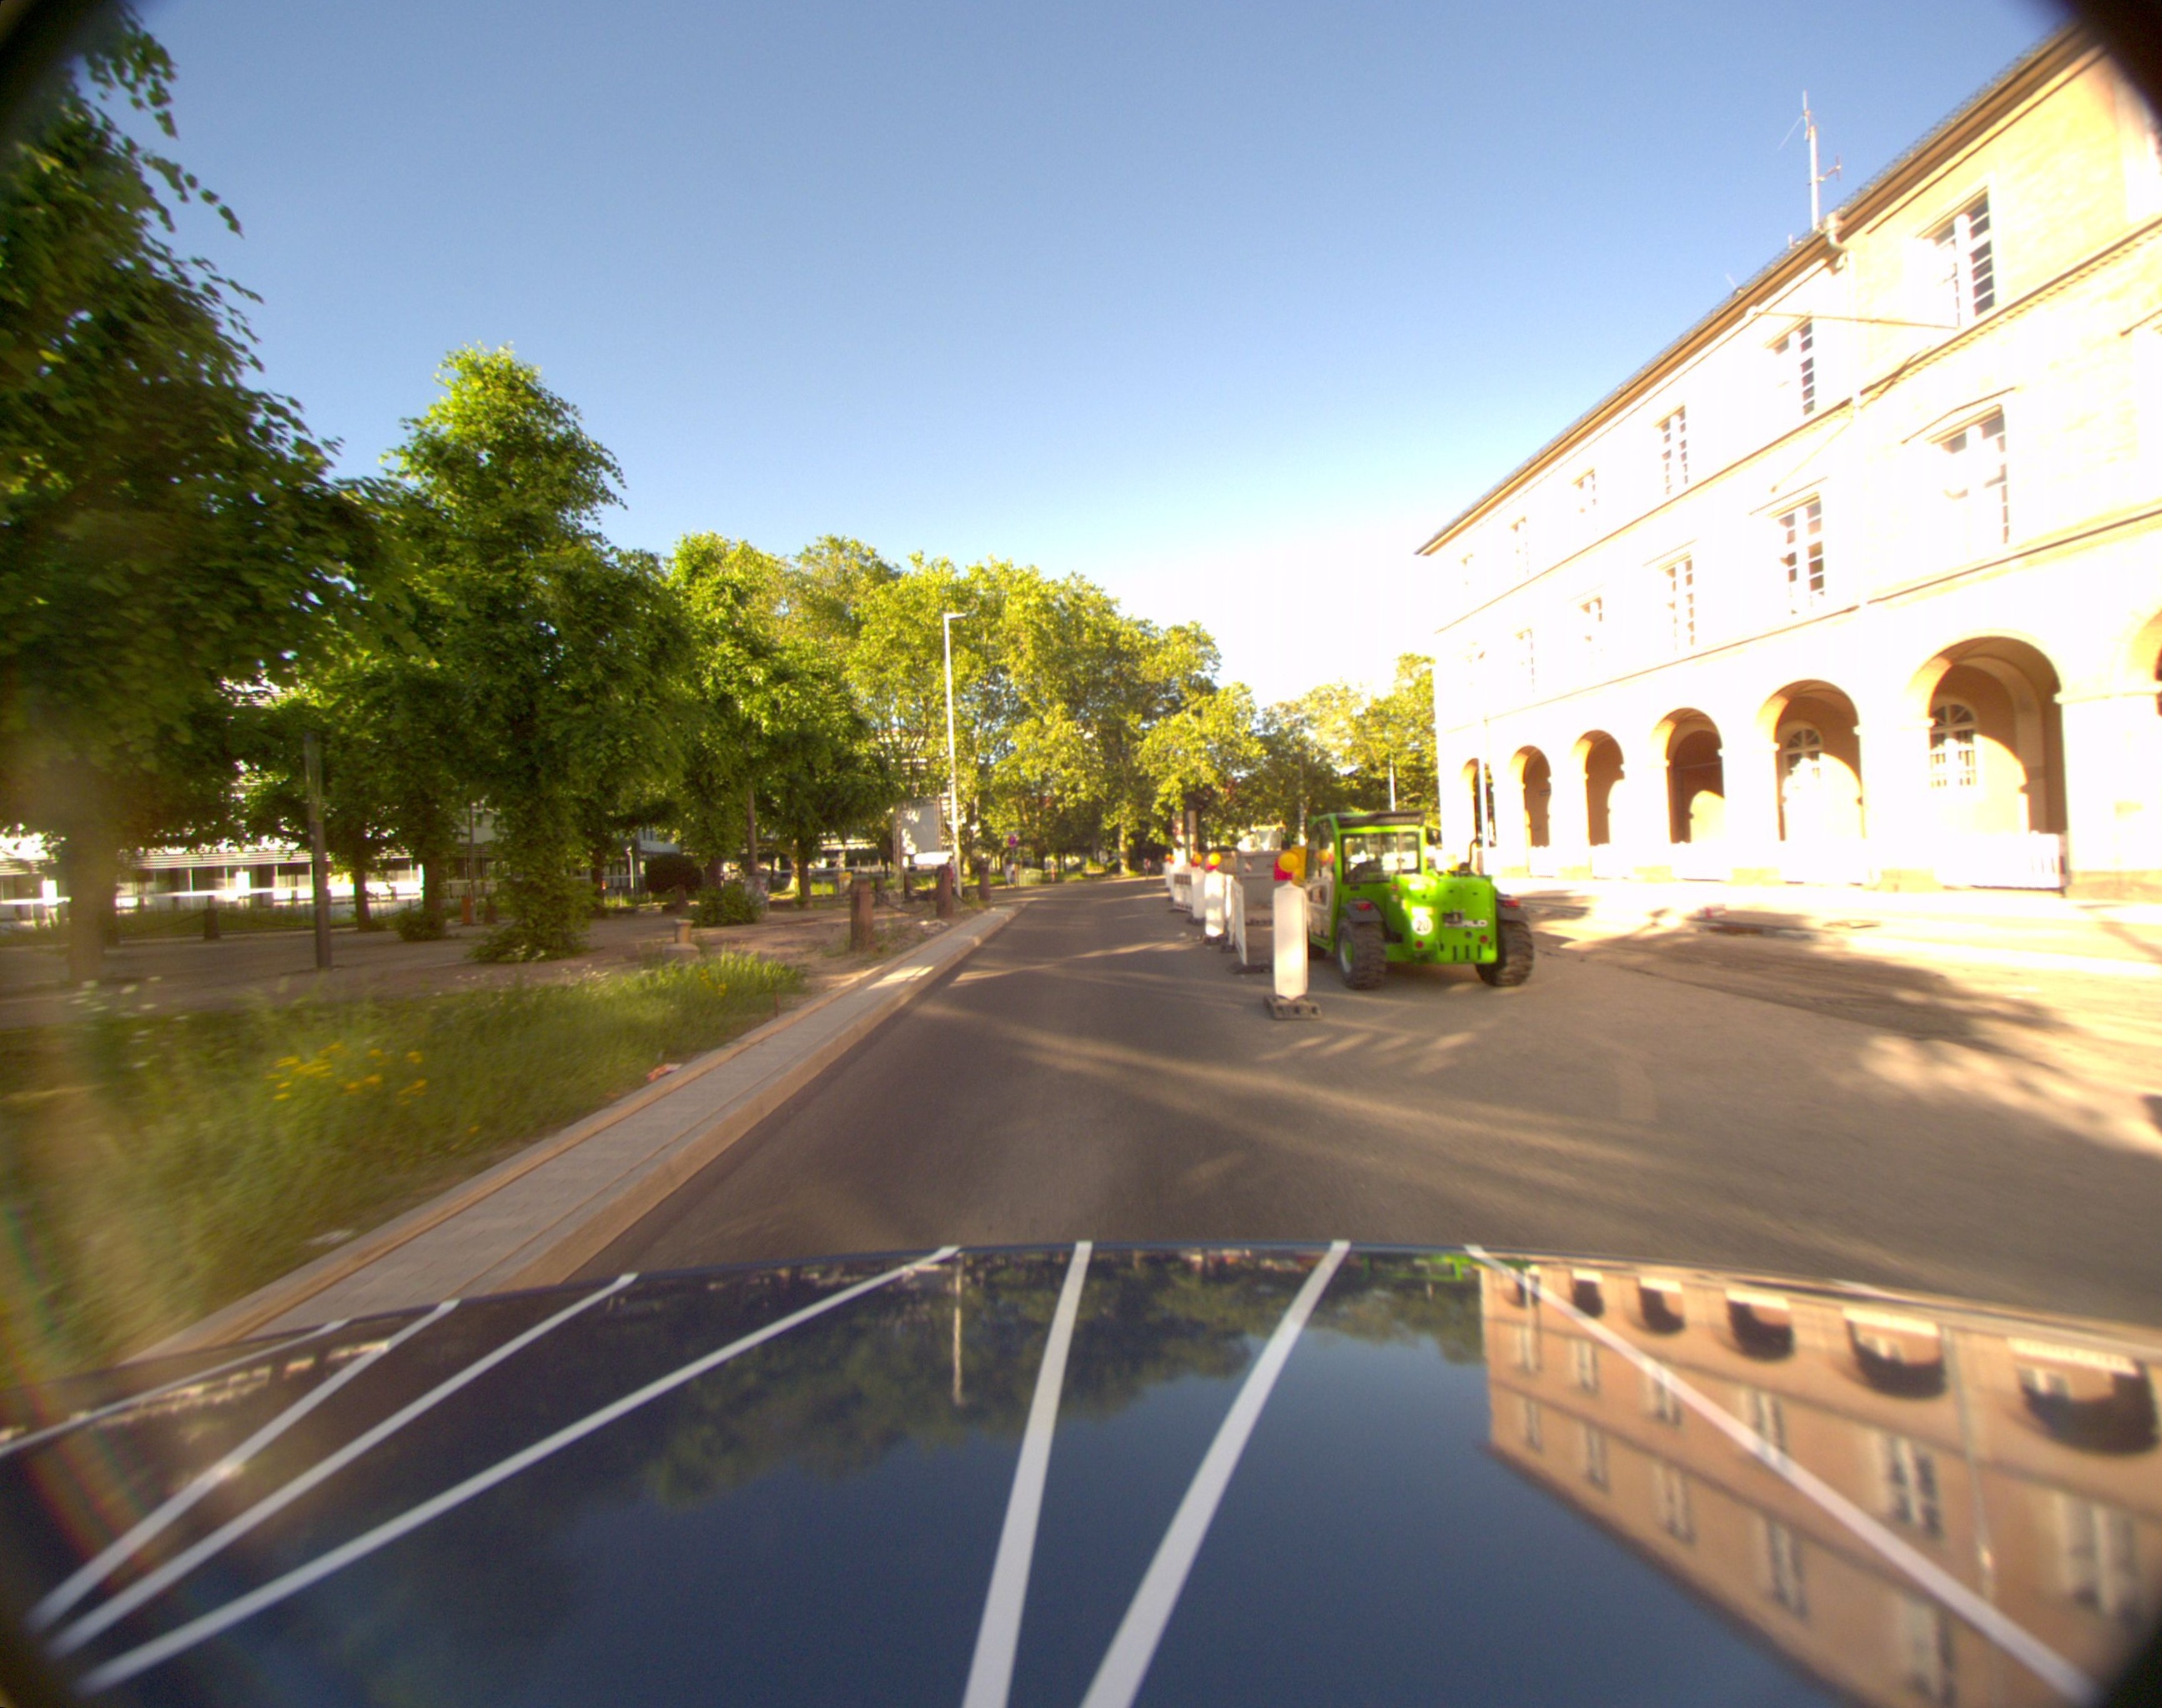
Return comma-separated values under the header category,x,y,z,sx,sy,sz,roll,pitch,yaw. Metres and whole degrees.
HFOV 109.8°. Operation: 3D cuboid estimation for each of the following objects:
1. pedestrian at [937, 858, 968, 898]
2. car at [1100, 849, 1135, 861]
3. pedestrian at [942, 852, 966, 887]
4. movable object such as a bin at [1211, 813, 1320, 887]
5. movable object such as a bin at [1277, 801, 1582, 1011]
category,x,y,z,sx,sy,sz,roll,pitch,yaw
pedestrian,-5.399,1.007,31.936,0.940,1.614,0.709,-4,1,-40
car,5.325,0.128,110.710,4.657,1.466,2.013,-2,-1,-8
pedestrian,-6.821,0.832,40.861,1.134,1.801,0.747,-3,-1,-12
movable object such as a bin,8.338,-0.226,33.814,2.560,3.014,5.942,-2,1,36
movable object such as a bin,3.899,0.544,9.487,2.054,1.937,4.337,-3,-1,5
